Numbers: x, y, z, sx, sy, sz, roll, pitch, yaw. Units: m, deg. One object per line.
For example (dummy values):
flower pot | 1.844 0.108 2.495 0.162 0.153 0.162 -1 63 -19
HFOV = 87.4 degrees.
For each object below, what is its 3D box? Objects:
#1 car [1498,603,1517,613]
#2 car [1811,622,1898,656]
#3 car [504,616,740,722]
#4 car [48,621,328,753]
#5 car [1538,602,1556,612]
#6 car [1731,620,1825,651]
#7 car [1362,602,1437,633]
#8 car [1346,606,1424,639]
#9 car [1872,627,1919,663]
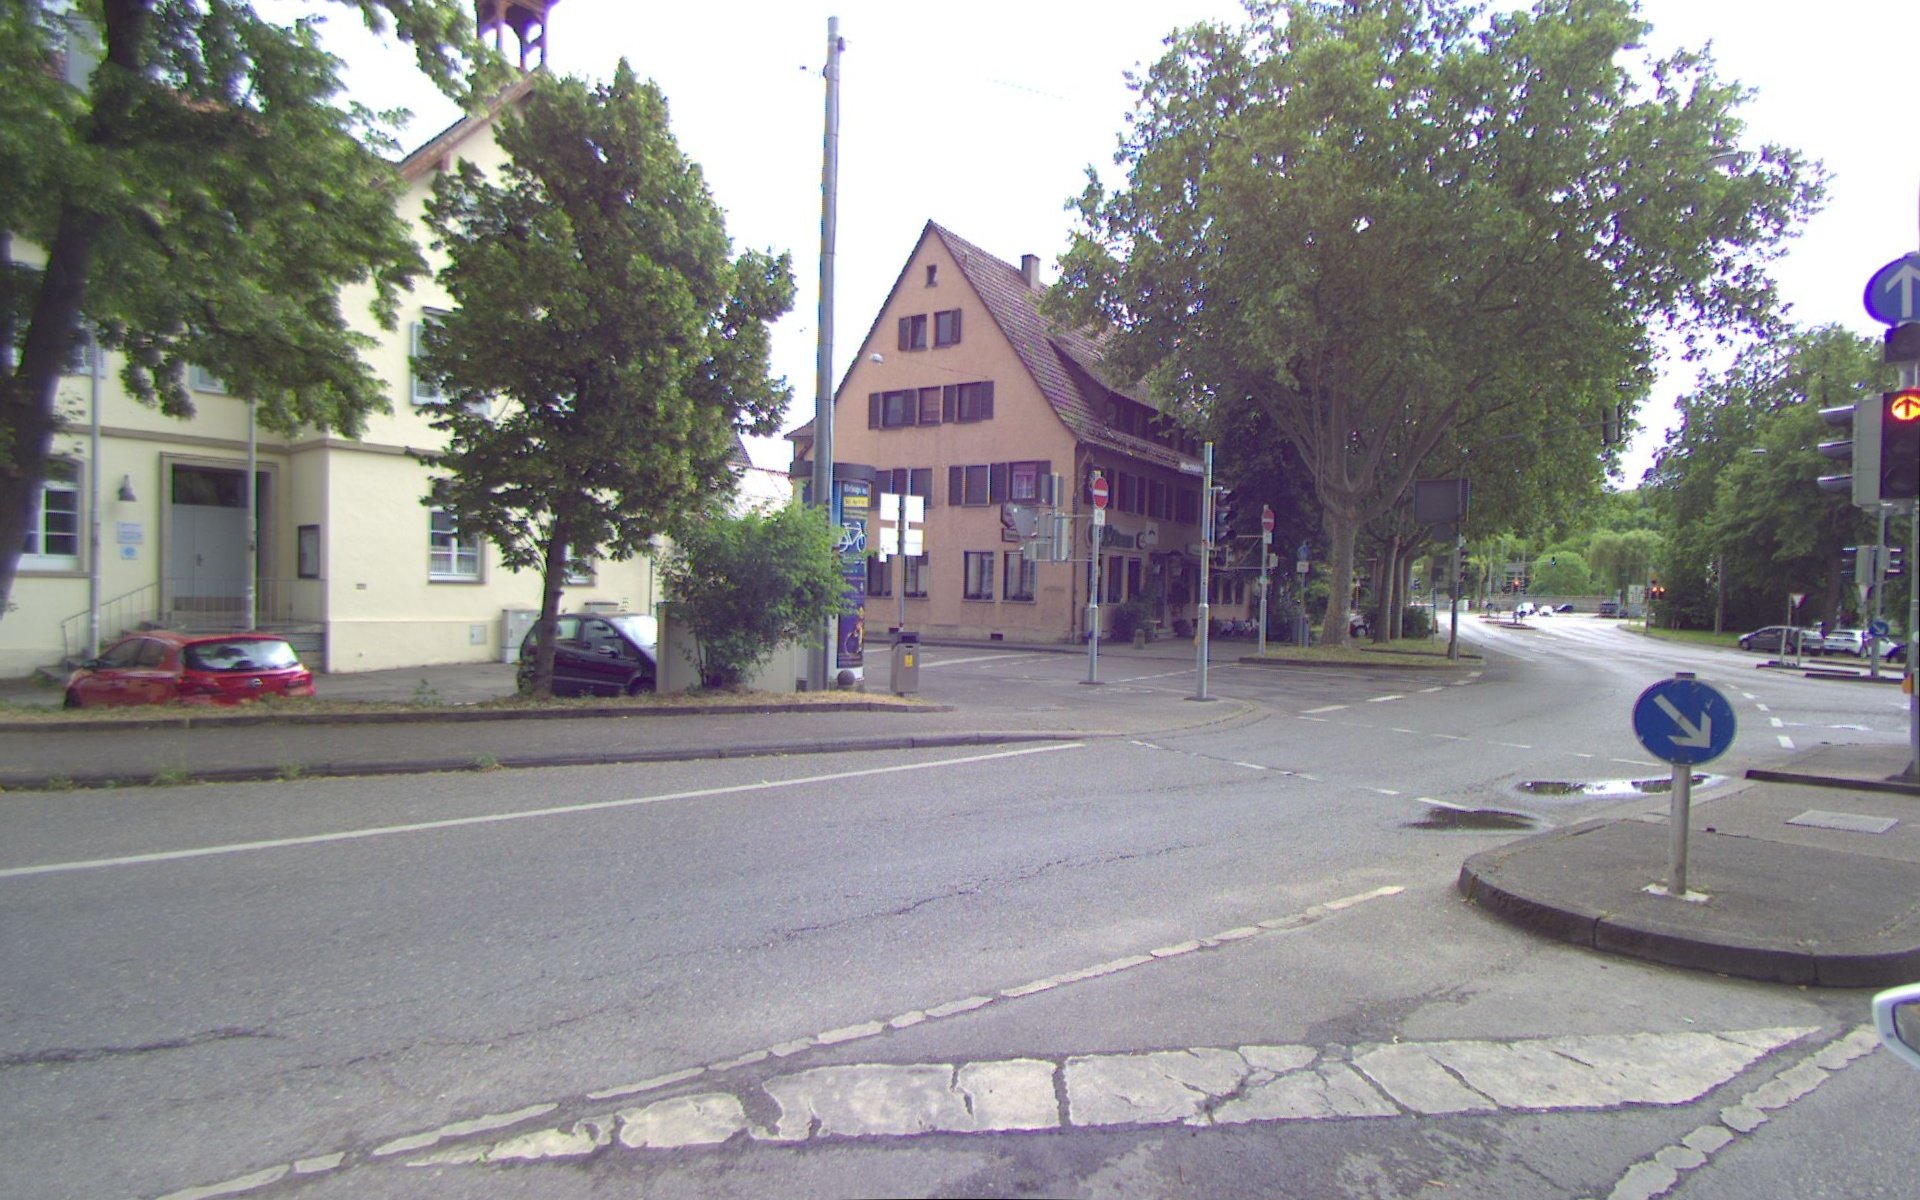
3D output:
car | 85.245 1.221 156.488 1.553 1.506 3.337 3 0 12
car | 47.462 2.041 53.325 3.696 1.662 1.859 2 0 -19
car | -5.531 1.050 16.439 3.507 1.459 1.644 2 0 26
car | -10.264 1.046 13.323 3.653 1.401 1.659 2 0 30
car | 90.790 1.072 155.446 1.469 1.436 3.028 3 0 11
car | 43.818 1.879 53.906 1.592 1.485 3.778 2 0 -11
car | 25.729 1.008 58.782 3.924 1.706 1.998 1 0 25
car | 23.997 1.252 56.706 3.924 1.706 1.998 1 0 25
car | 39.447 1.861 40.764 1.746 1.370 3.326 2 0 -2
